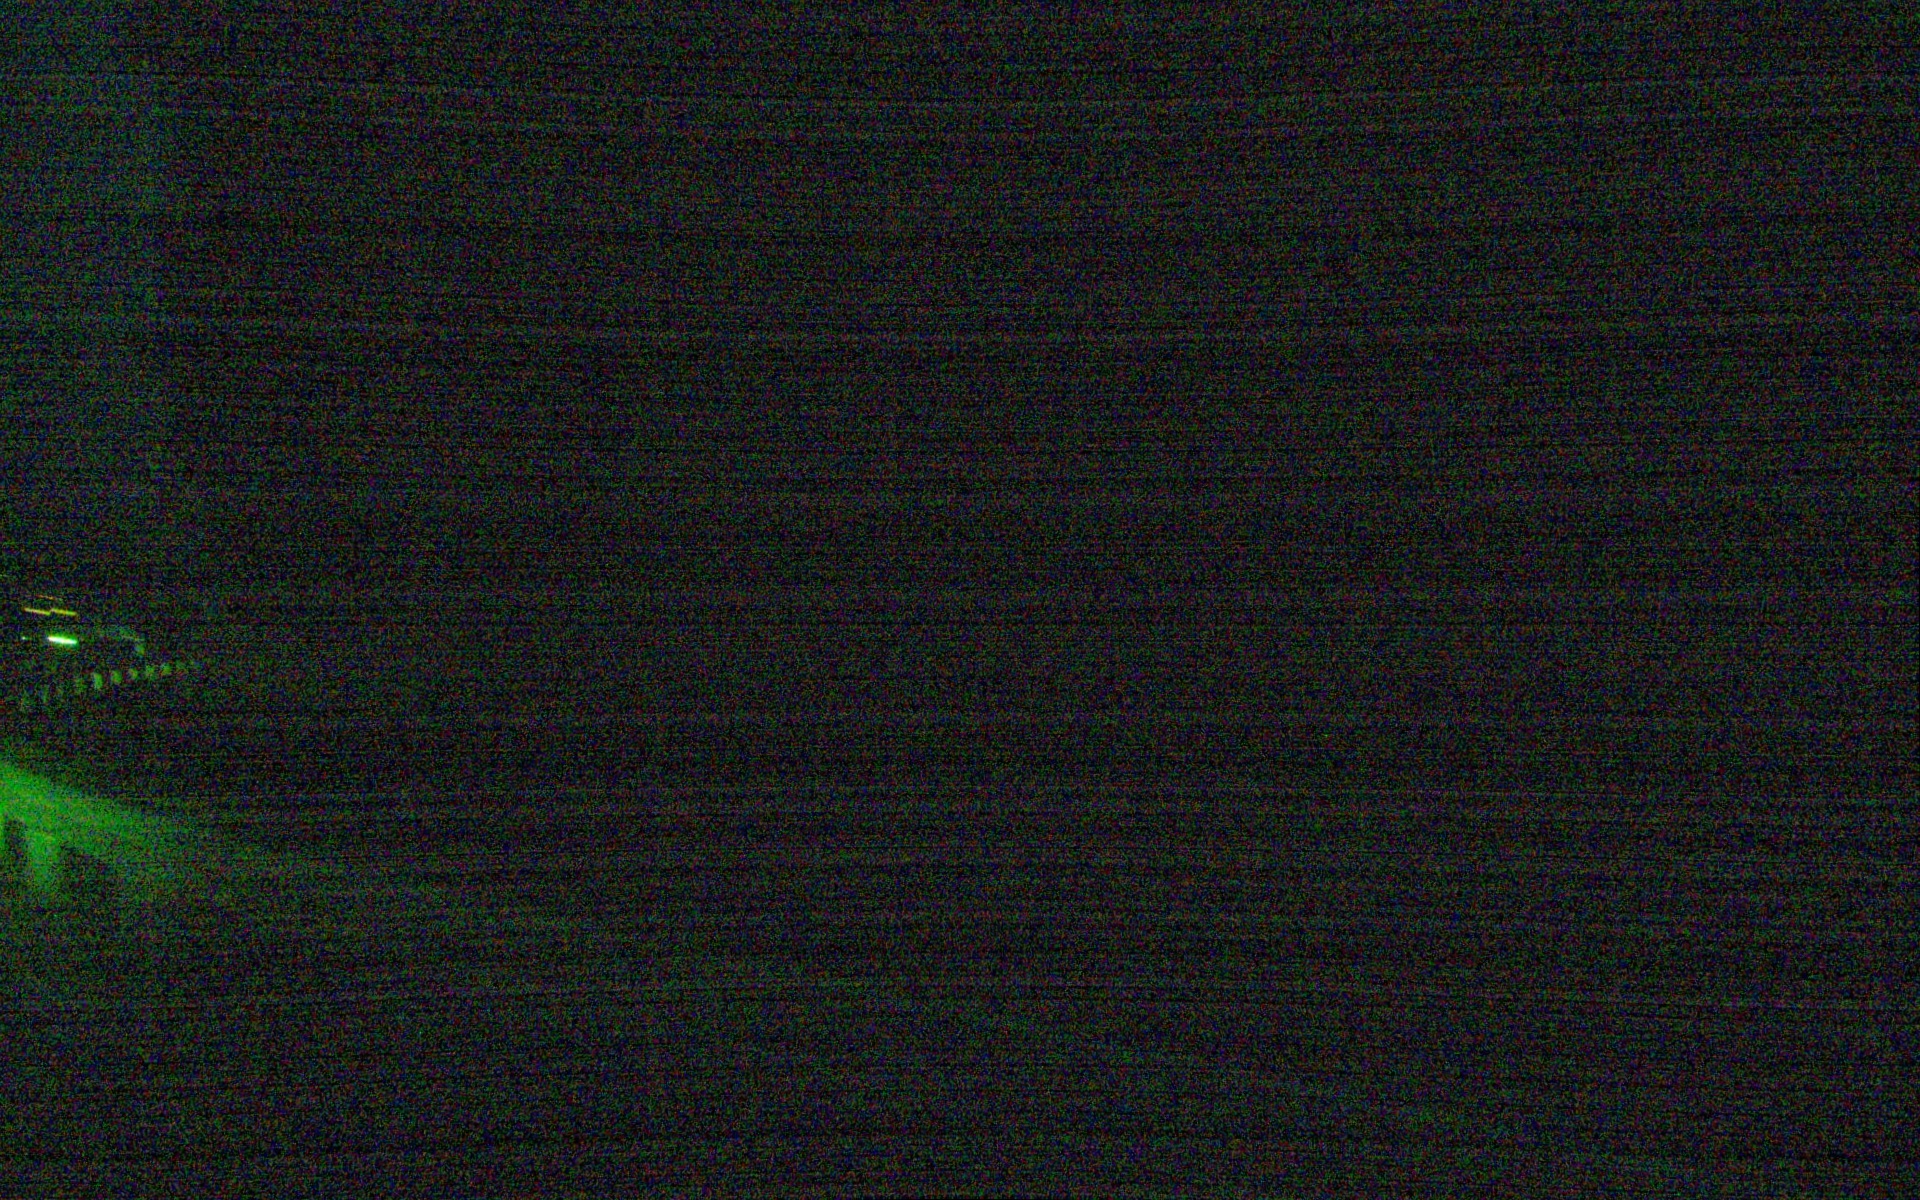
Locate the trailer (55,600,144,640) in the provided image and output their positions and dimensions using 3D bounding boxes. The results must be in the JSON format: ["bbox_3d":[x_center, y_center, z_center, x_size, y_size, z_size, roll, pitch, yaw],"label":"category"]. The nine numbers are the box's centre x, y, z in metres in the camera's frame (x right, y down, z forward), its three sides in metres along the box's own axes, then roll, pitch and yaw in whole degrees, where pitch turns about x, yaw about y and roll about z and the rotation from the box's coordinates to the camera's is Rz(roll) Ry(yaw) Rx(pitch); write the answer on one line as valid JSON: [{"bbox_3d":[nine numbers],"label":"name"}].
[{"bbox_3d":[-89.480,2.127,104.523,2.723,3.849,13.721,1,-2,-22],"label":"trailer"}]

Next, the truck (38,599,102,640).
[{"bbox_3d":[-86.670,1.921,97.621,2.723,3.849,5.946,1,-2,-22],"label":"truck"}]
